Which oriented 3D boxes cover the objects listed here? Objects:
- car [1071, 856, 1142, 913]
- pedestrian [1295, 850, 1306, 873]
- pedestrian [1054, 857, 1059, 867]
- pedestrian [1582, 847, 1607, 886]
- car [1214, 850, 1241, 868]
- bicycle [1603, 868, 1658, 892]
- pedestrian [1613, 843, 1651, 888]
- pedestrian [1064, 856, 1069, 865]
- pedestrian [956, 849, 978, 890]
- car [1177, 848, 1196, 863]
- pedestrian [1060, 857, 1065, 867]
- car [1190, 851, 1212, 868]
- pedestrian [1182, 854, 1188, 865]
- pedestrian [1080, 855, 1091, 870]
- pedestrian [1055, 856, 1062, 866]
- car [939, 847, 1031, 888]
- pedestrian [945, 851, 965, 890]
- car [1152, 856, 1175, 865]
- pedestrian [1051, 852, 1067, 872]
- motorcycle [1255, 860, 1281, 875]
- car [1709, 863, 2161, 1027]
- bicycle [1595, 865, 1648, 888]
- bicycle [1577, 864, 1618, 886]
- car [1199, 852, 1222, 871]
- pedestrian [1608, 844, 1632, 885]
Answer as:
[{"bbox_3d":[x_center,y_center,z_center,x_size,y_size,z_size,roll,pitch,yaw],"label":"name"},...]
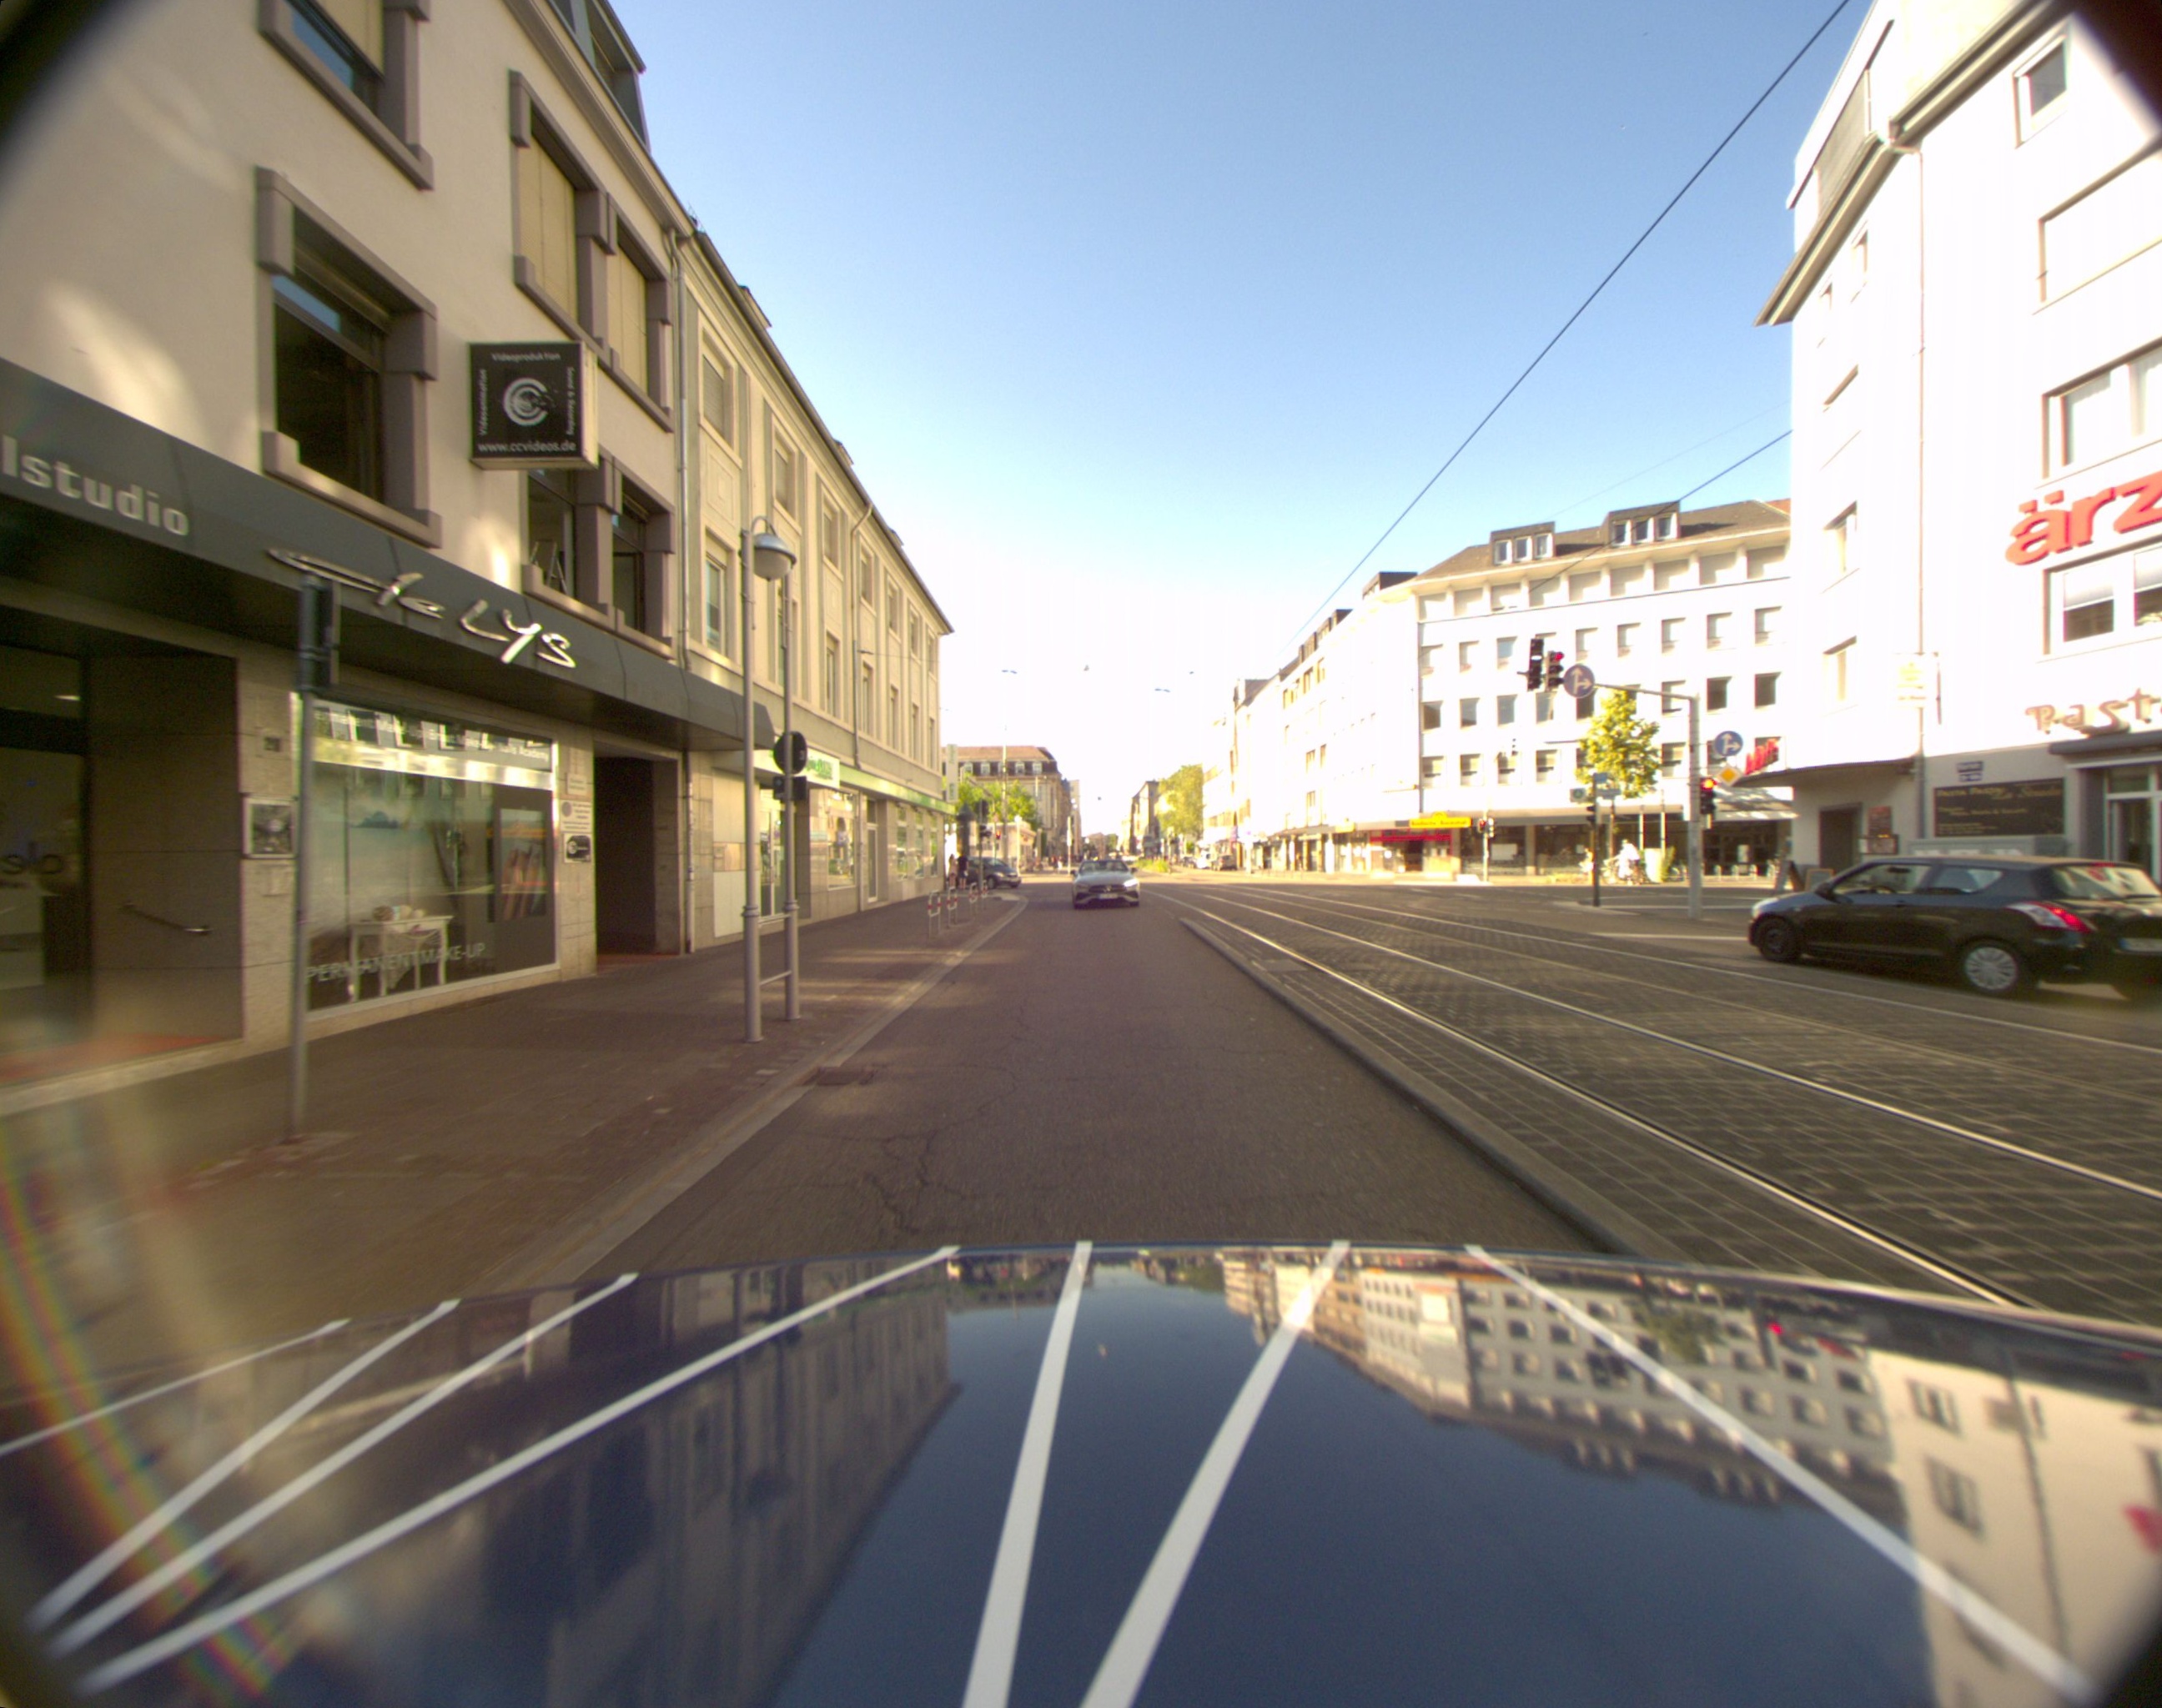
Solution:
[{"bbox_3d":[0.685,0.840,22.846,1.910,1.454,4.363,-1,1,0],"label":"car"},{"bbox_3d":[16.660,0.574,57.708,0.710,1.699,0.561,0,0,22],"label":"pedestrian"},{"bbox_3d":[-2.911,0.953,91.148,0.622,1.266,0.780,0,0,-1],"label":"pedestrian"},{"bbox_3d":[22.745,0.525,33.687,0.653,1.702,0.793,-1,1,10],"label":"pedestrian"},{"bbox_3d":[14.513,0.513,75.345,1.998,1.696,4.000,-1,0,1],"label":"car"},{"bbox_3d":[22.966,1.089,31.783,1.722,1.001,0.762,0,-3,13],"label":"bicycle"},{"bbox_3d":[23.054,0.488,31.790,1.000,1.855,0.781,-1,-2,11],"label":"pedestrian"},{"bbox_3d":[-2.349,1.073,125.286,0.691,1.372,0.780,0,0,3],"label":"pedestrian"},{"bbox_3d":[-5.112,0.687,34.092,0.680,1.831,0.643,0,0,25],"label":"pedestrian"},{"bbox_3d":[13.899,0.215,100.585,1.998,2.002,4.000,-1,0,1],"label":"car"},{"bbox_3d":[-2.217,0.955,91.312,0.509,1.266,0.719,0,0,-7],"label":"pedestrian"},{"bbox_3d":[14.056,0.648,89.303,1.998,2.002,4.000,-1,0,1],"label":"car"},{"bbox_3d":[15.890,0.822,116.317,0.578,1.615,0.708,0,1,44],"label":"pedestrian"},{"bbox_3d":[0.832,1.585,146.572,1.380,2.774,1.948,-1,1,-24],"label":"pedestrian"},{"bbox_3d":[-3.346,1.024,113.128,0.946,1.456,0.780,0,0,3],"label":"pedestrian"},{"bbox_3d":[-4.738,0.652,37.339,4.086,1.859,1.915,0,2,30],"label":"car"},{"bbox_3d":[-5.647,0.742,34.118,0.648,1.749,0.575,0,1,25],"label":"pedestrian"},{"bbox_3d":[15.118,1.183,138.943,3.996,1.787,2.000,0,0,2],"label":"car"},{"bbox_3d":[-1.755,0.649,61.513,0.947,1.653,0.915,0,0,-35],"label":"pedestrian"},{"bbox_3d":[18.445,1.302,74.905,2.254,1.496,1.000,0,0,-2],"label":"motorcycle"},{"bbox_3d":[10.013,0.875,9.020,1.717,1.437,4.139,2,0,2],"label":"car"},{"bbox_3d":[23.105,0.974,32.494,1.791,0.962,0.554,0,0,13],"label":"bicycle"},{"bbox_3d":[22.960,0.922,33.782,1.453,0.950,0.482,0,0,11],"label":"bicycle"},{"bbox_3d":[14.222,0.780,83.627,1.998,2.002,4.844,-1,0,4],"label":"car"},{"bbox_3d":[22.993,0.435,32.399,0.558,1.718,0.781,-1,1,11],"label":"pedestrian"}]
